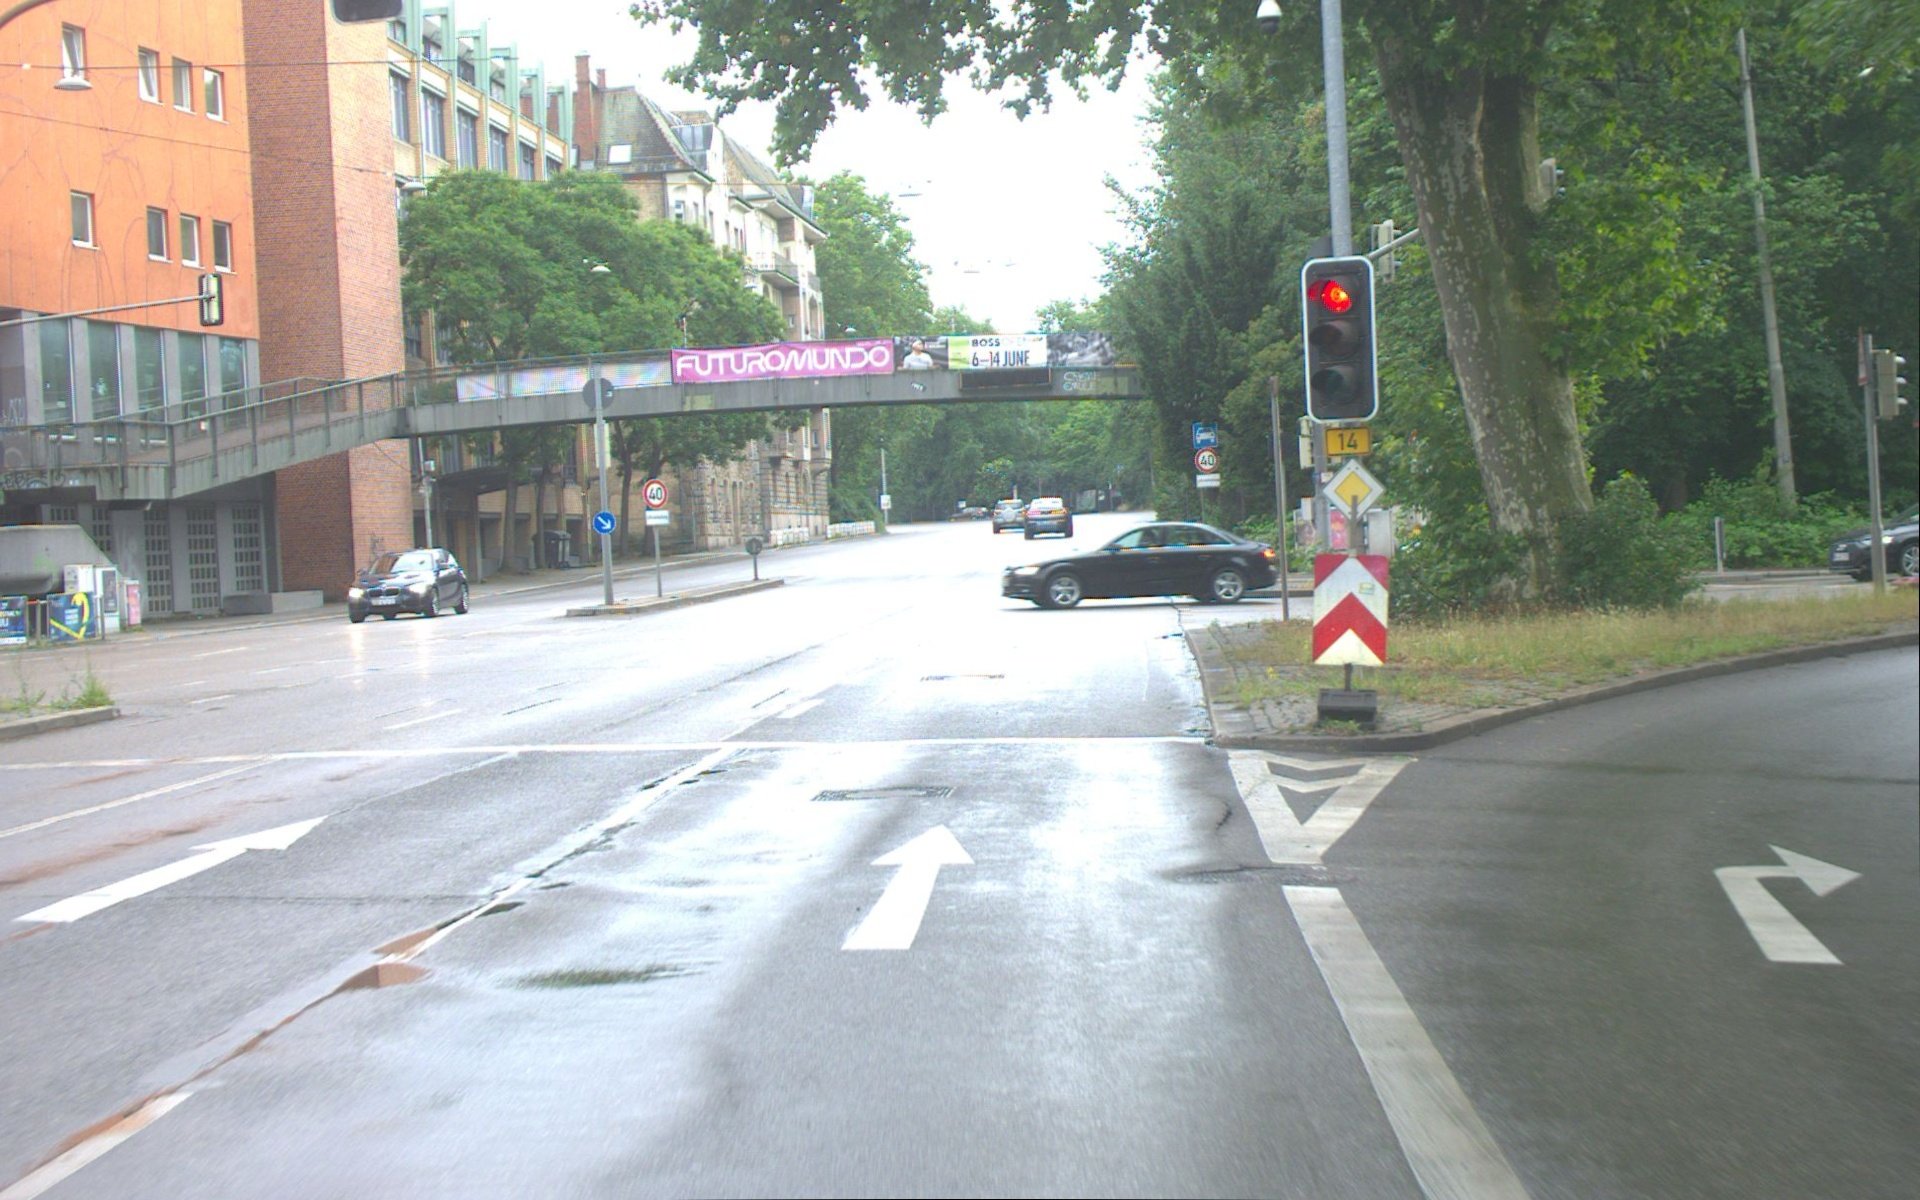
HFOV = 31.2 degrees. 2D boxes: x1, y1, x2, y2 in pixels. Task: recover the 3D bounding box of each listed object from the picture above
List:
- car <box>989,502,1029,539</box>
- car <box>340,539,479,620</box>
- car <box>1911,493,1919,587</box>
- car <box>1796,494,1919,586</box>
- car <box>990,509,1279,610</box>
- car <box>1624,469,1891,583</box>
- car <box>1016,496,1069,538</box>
[{"bbox_3d":[2.427,-3.928,169.937,1.763,1.691,3.705,-4,1,2],"label":"car"},{"bbox_3d":[-11.278,-0.441,70.626,1.994,1.514,4.000,-3,1,2],"label":"car"},{"bbox_3d":[17.200,-1.022,54.223,3.853,1.480,1.673,-2,0,-12],"label":"car"},{"bbox_3d":[16.432,-1.043,58.206,3.986,1.481,1.879,-2,1,-17],"label":"car"},{"bbox_3d":[2.909,-0.687,57.934,4.603,1.446,1.774,-3,1,-5],"label":"car"},{"bbox_3d":[15.098,-1.392,65.199,4.338,1.829,2.136,-4,1,-11],"label":"car"},{"bbox_3d":[3.507,-3.551,146.842,2.120,1.729,4.199,-1,2,0],"label":"car"}]
